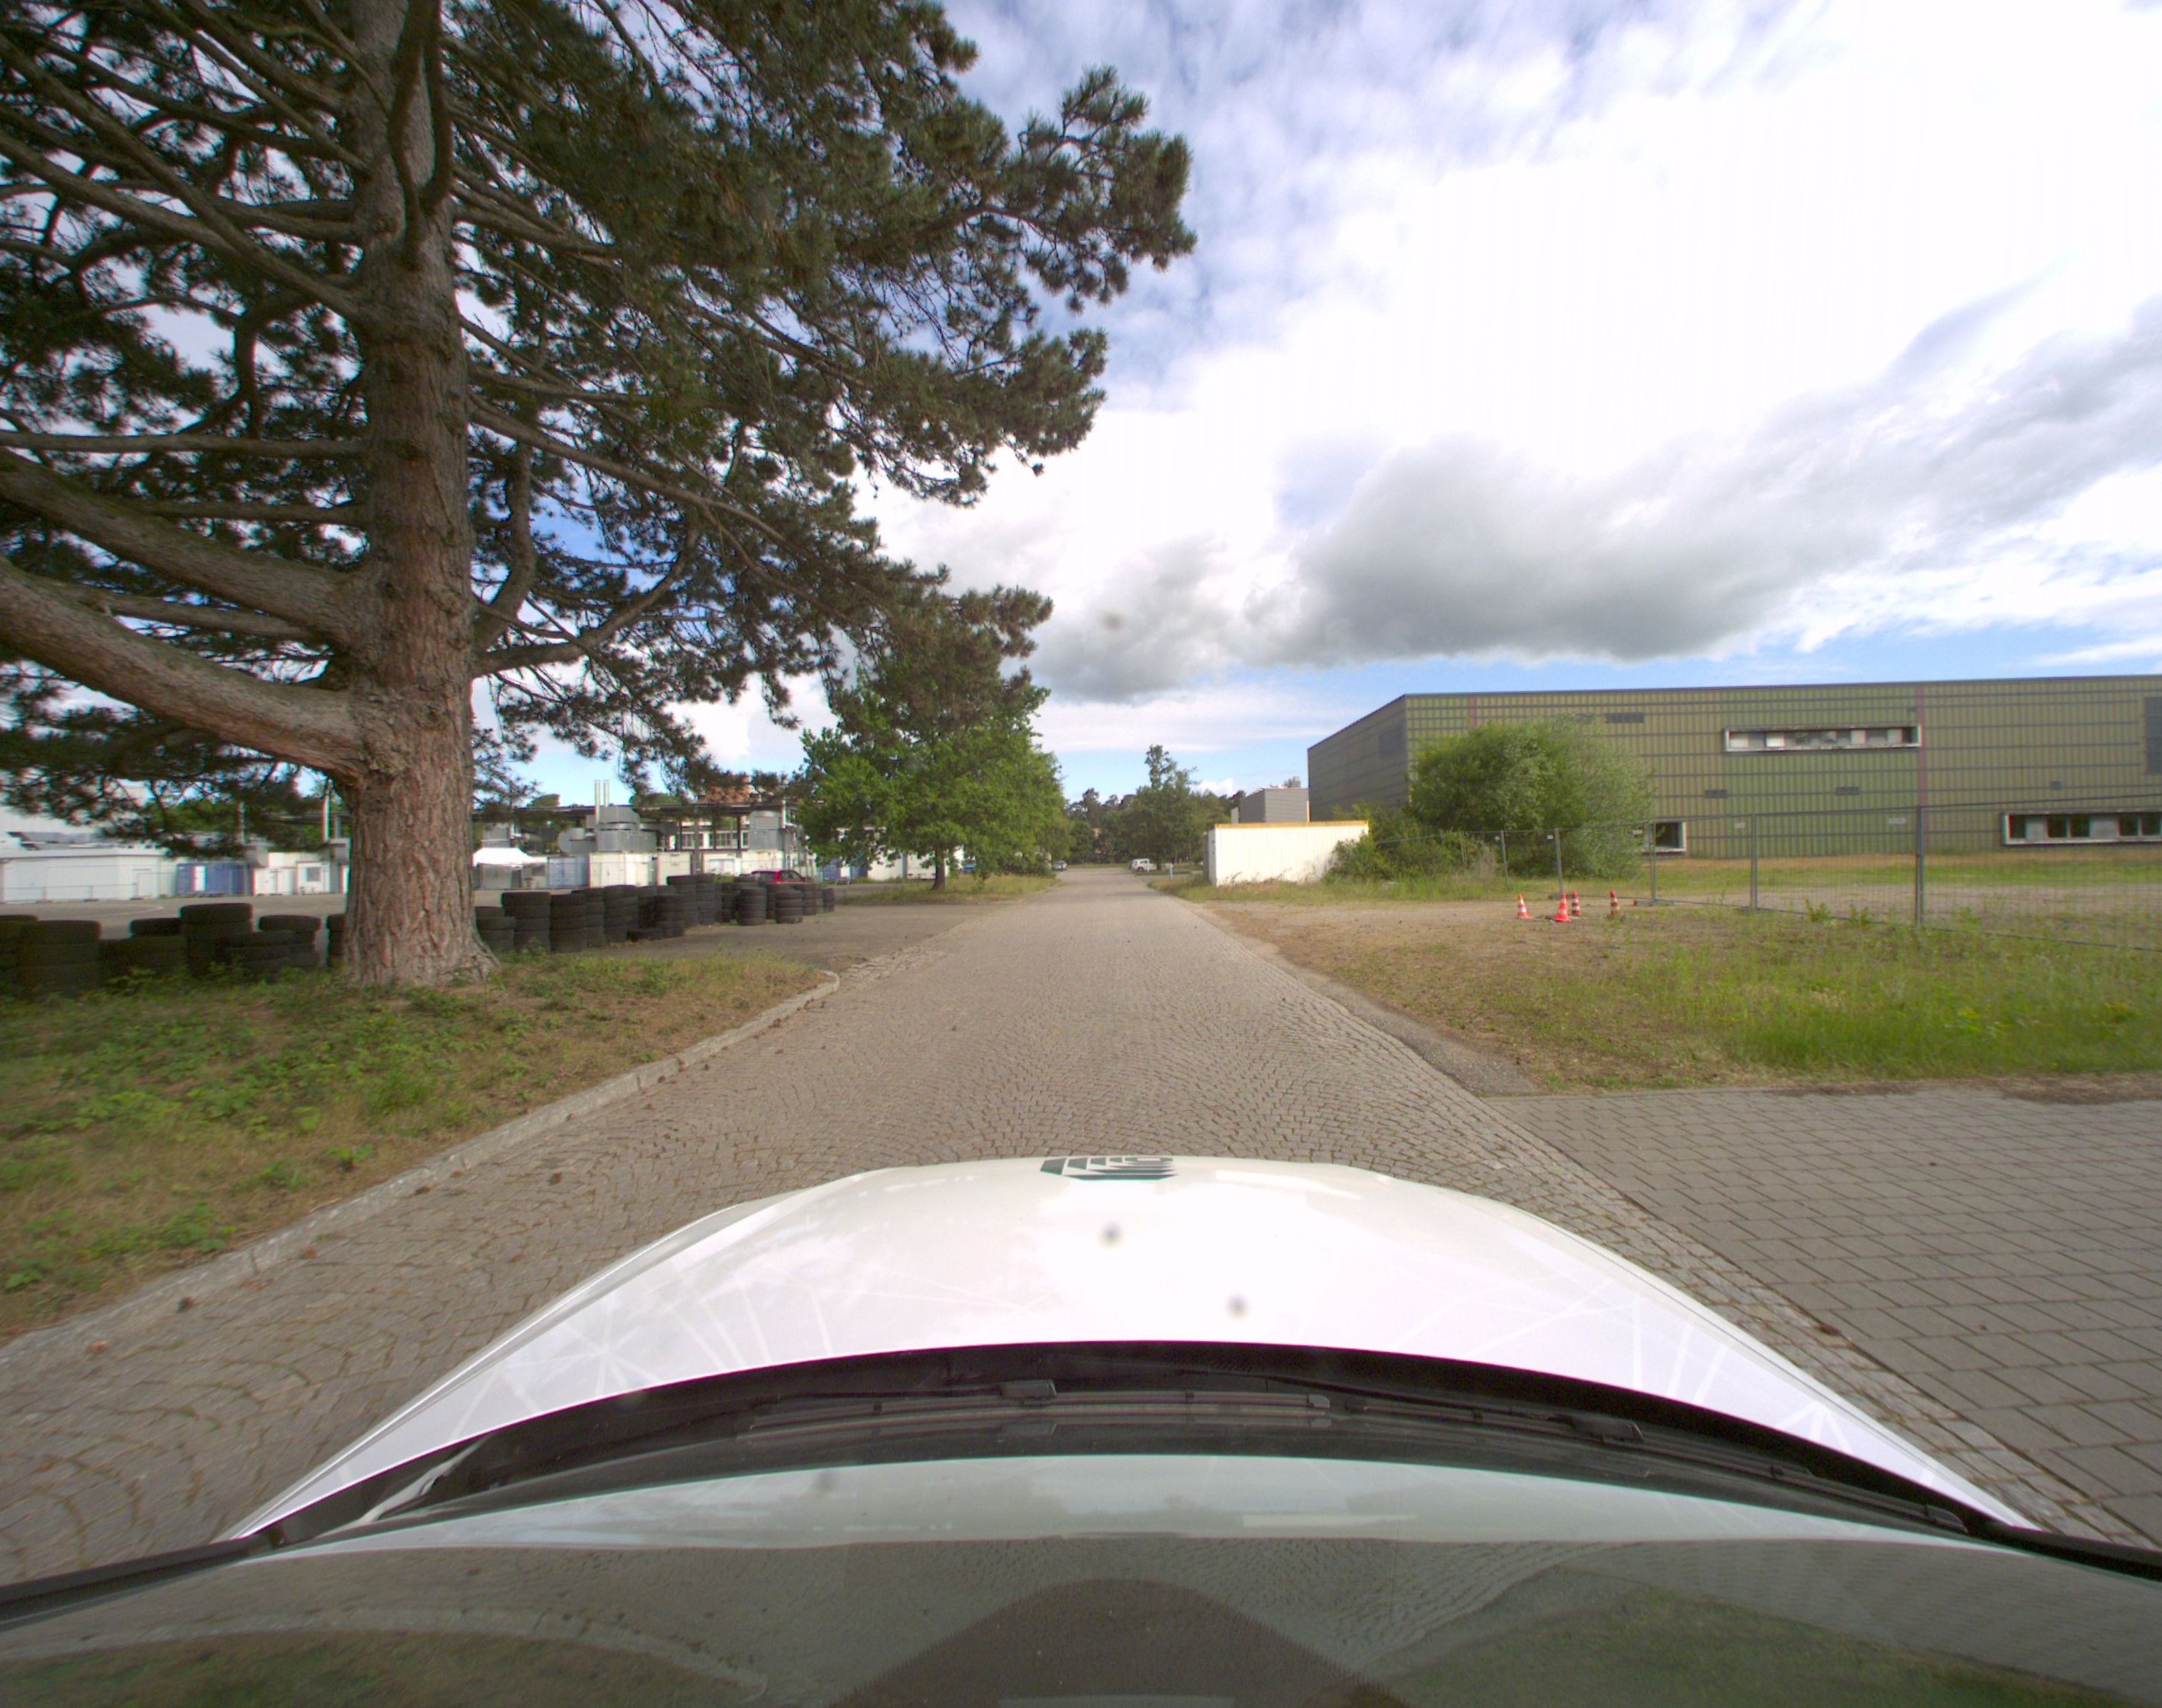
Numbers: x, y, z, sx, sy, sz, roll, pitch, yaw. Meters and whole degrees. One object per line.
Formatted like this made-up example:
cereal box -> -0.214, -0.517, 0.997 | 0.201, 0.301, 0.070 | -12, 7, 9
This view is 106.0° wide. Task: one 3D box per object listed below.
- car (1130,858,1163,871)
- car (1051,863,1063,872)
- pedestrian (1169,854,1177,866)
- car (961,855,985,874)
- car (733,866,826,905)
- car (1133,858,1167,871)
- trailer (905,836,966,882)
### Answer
car -> 8.118, 1.300, 101.204 | 3.972, 1.455, 1.698 | -2, -1, 1
car -> -3.616, 2.016, 123.238 | 1.744, 1.364, 3.998 | -2, -1, -1
pedestrian -> 12.444, 0.839, 110.373 | 0.937, 1.568, 0.971 | -2, -1, -1
car -> -14.840, 1.427, 111.866 | 1.984, 2.523, 5.625 | -2, -1, 5
car -> -12.417, 1.261, 33.819 | 1.814, 1.432, 4.228 | -1, 0, 8
car -> 8.347, 1.297, 99.030 | 3.972, 1.455, 2.001 | -1, -1, 1
trailer -> -12.703, 0.431, 72.189 | 2.645, 3.706, 10.732 | -2, -1, 4
